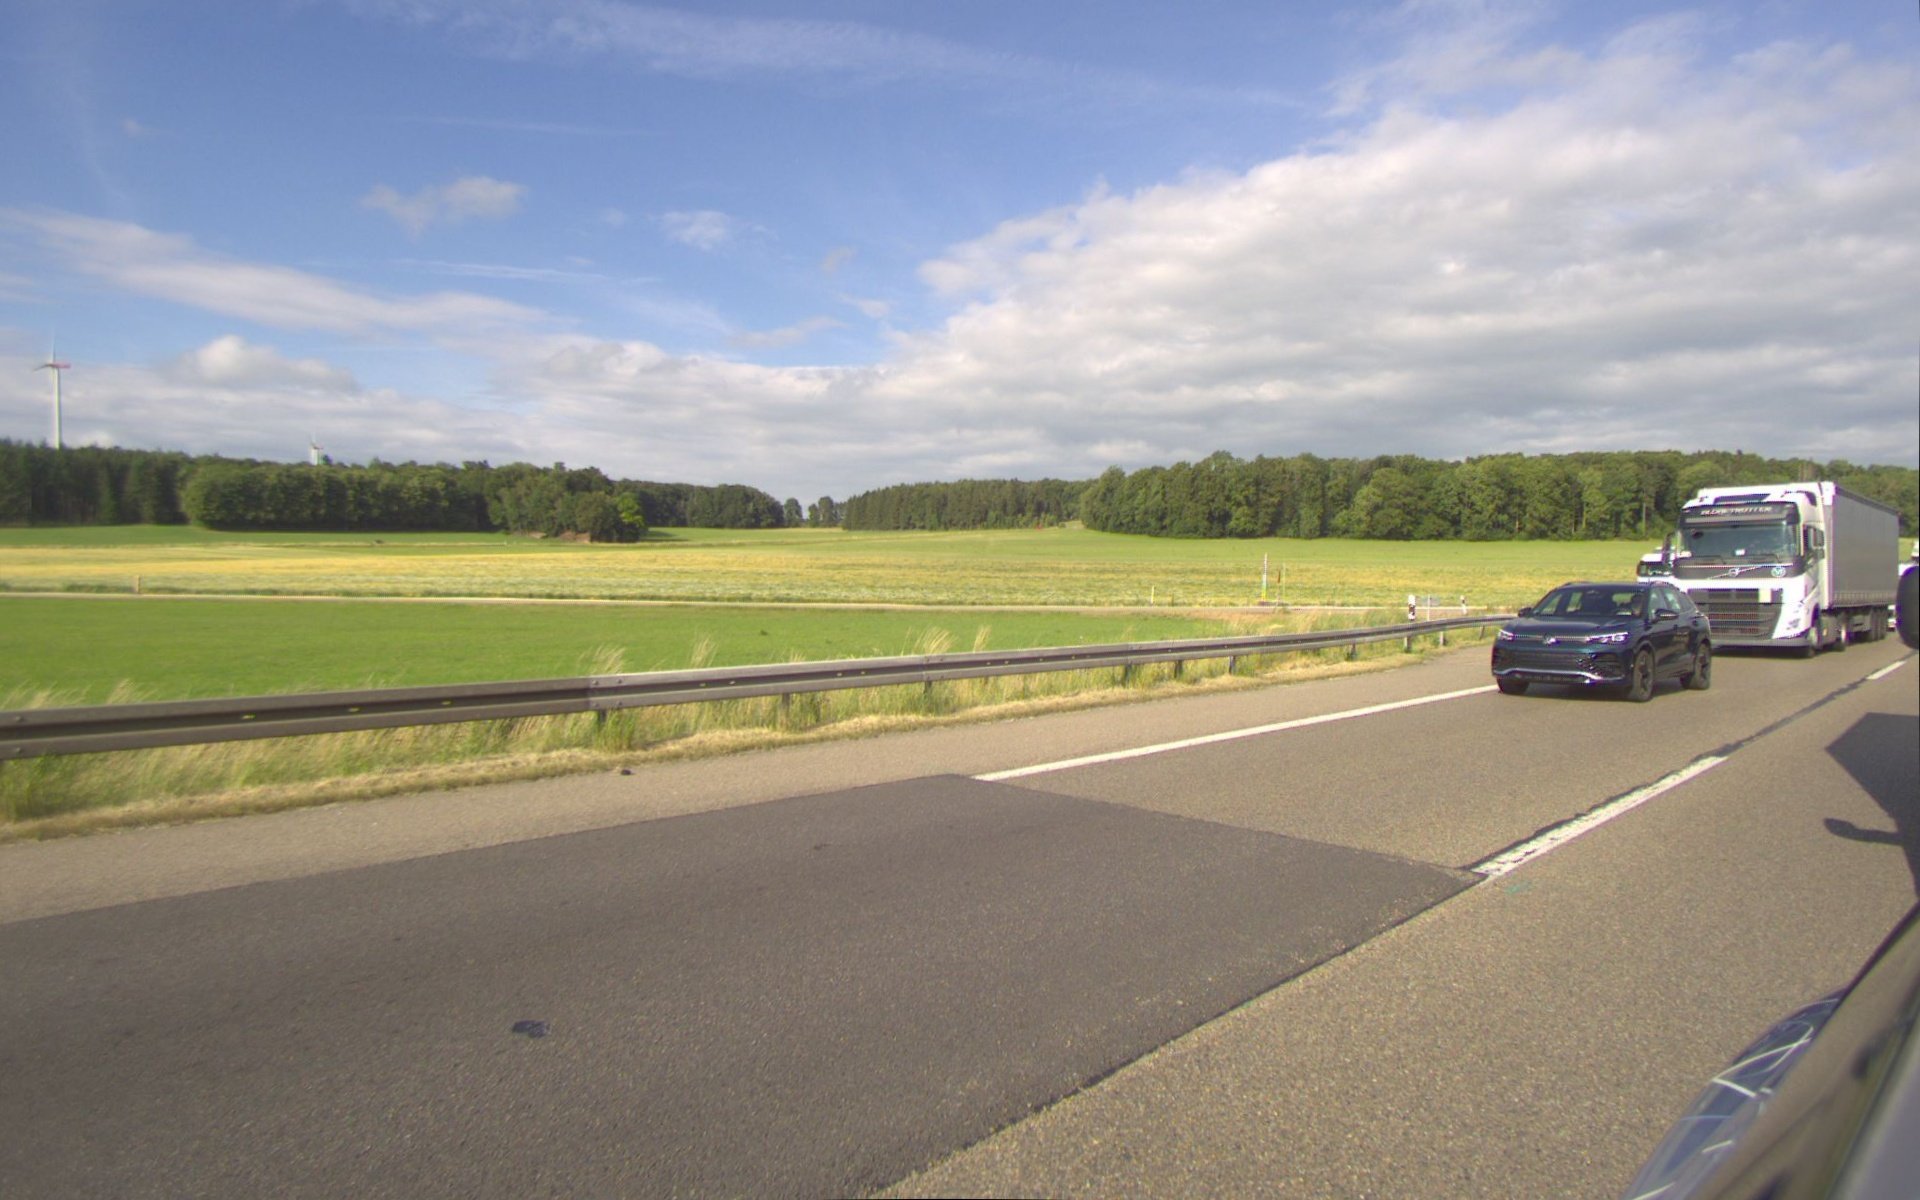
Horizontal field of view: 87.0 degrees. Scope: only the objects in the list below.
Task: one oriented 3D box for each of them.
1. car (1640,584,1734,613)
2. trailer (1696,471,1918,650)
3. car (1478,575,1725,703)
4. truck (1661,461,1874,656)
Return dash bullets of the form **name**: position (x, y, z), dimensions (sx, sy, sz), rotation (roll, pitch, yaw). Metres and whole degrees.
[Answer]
- **car**: position (42.263, -0.083, 58.919), dimensions (3.930, 1.638, 1.997), rotation (0, 0, 6)
- **trailer**: position (23.626, -0.981, 27.844), dimensions (11.917, 4.032, 2.824), rotation (-1, 0, -41)
- **car**: position (9.497, 0.459, 14.877), dimensions (4.047, 1.616, 1.997), rotation (-1, 1, -41)
- **truck**: position (19.360, -0.902, 24.137), dimensions (6.388, 4.040, 2.840), rotation (-1, 0, -41)
